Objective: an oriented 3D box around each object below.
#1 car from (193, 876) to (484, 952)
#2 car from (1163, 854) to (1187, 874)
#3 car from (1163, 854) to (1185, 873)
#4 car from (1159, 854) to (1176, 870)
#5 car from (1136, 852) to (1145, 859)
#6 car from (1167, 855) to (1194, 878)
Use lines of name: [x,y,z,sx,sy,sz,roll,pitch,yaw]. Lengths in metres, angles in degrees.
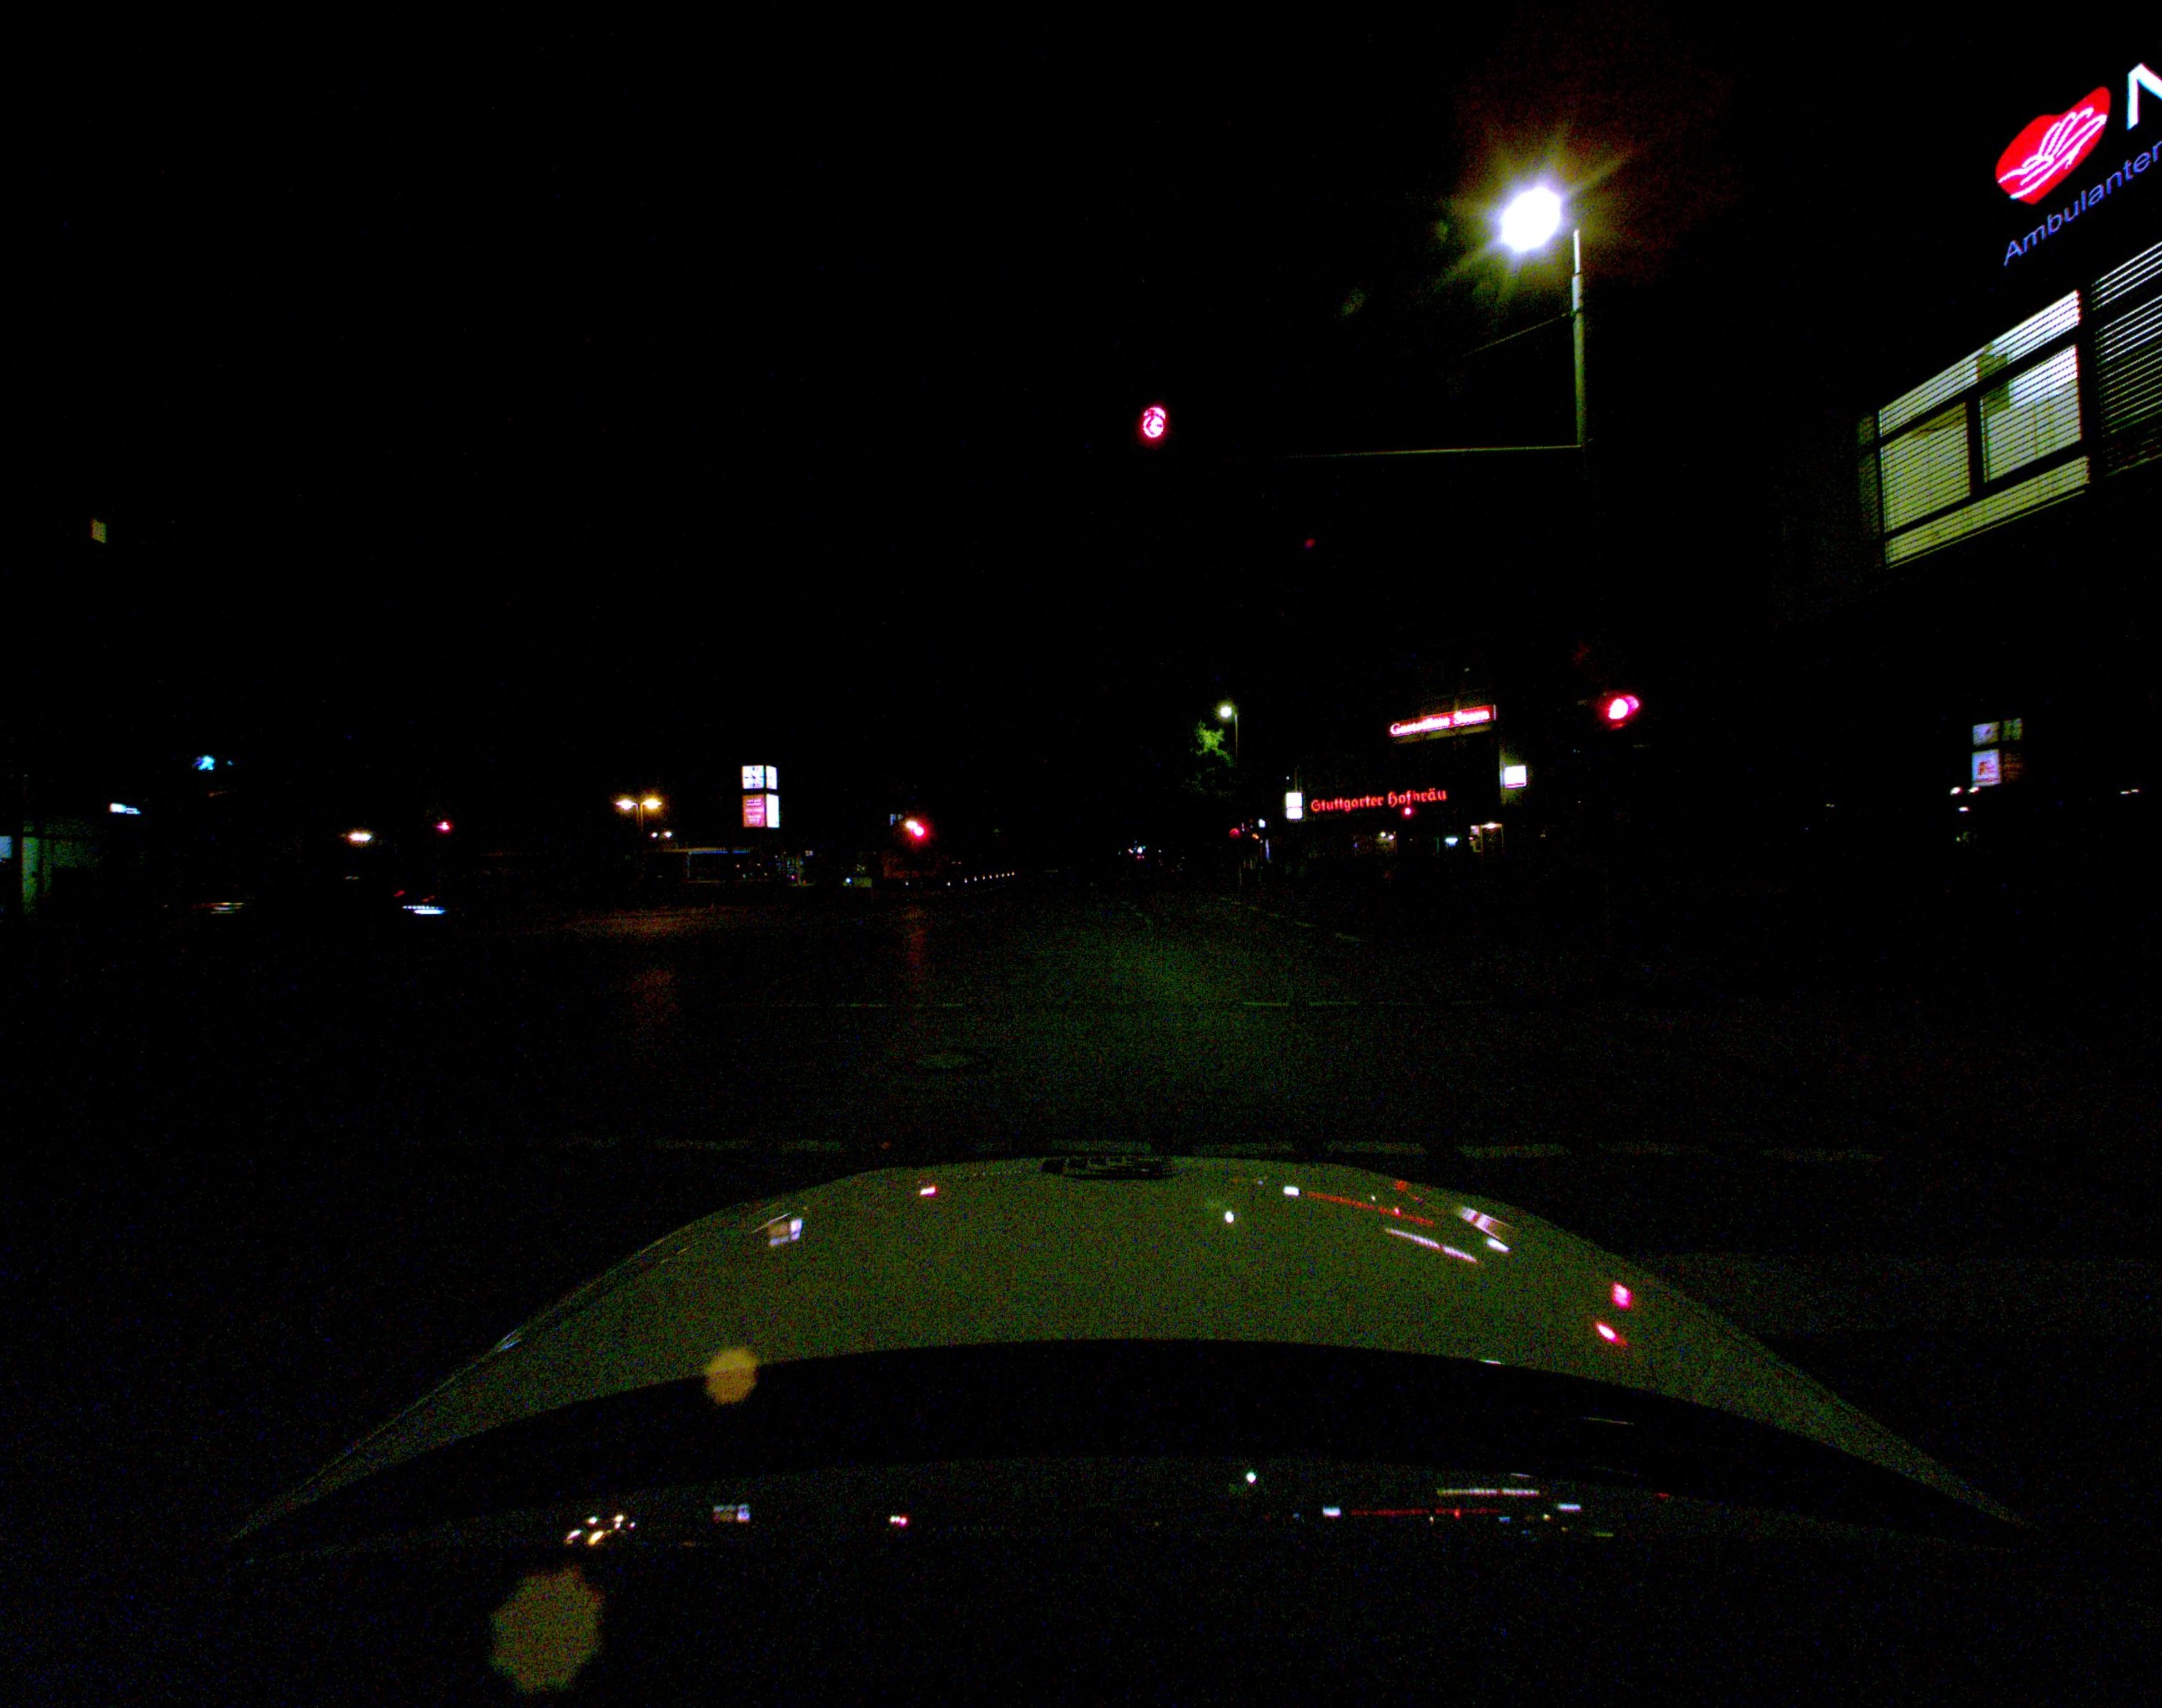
car: [-16.096,1.250,17.946,4.310,1.454,1.870,0,-1,-16]
car: [7.884,0.832,68.770,1.868,1.615,4.005,-2,-1,5]
car: [8.679,0.879,76.427,1.868,1.729,4.005,-2,-1,5]
car: [10.046,0.928,94.473,1.868,1.683,4.005,-2,-1,5]
car: [14.343,0.459,196.590,2.217,1.651,4.005,-1,0,5]
car: [7.722,0.960,63.509,1.868,1.615,4.005,-2,-1,5]
